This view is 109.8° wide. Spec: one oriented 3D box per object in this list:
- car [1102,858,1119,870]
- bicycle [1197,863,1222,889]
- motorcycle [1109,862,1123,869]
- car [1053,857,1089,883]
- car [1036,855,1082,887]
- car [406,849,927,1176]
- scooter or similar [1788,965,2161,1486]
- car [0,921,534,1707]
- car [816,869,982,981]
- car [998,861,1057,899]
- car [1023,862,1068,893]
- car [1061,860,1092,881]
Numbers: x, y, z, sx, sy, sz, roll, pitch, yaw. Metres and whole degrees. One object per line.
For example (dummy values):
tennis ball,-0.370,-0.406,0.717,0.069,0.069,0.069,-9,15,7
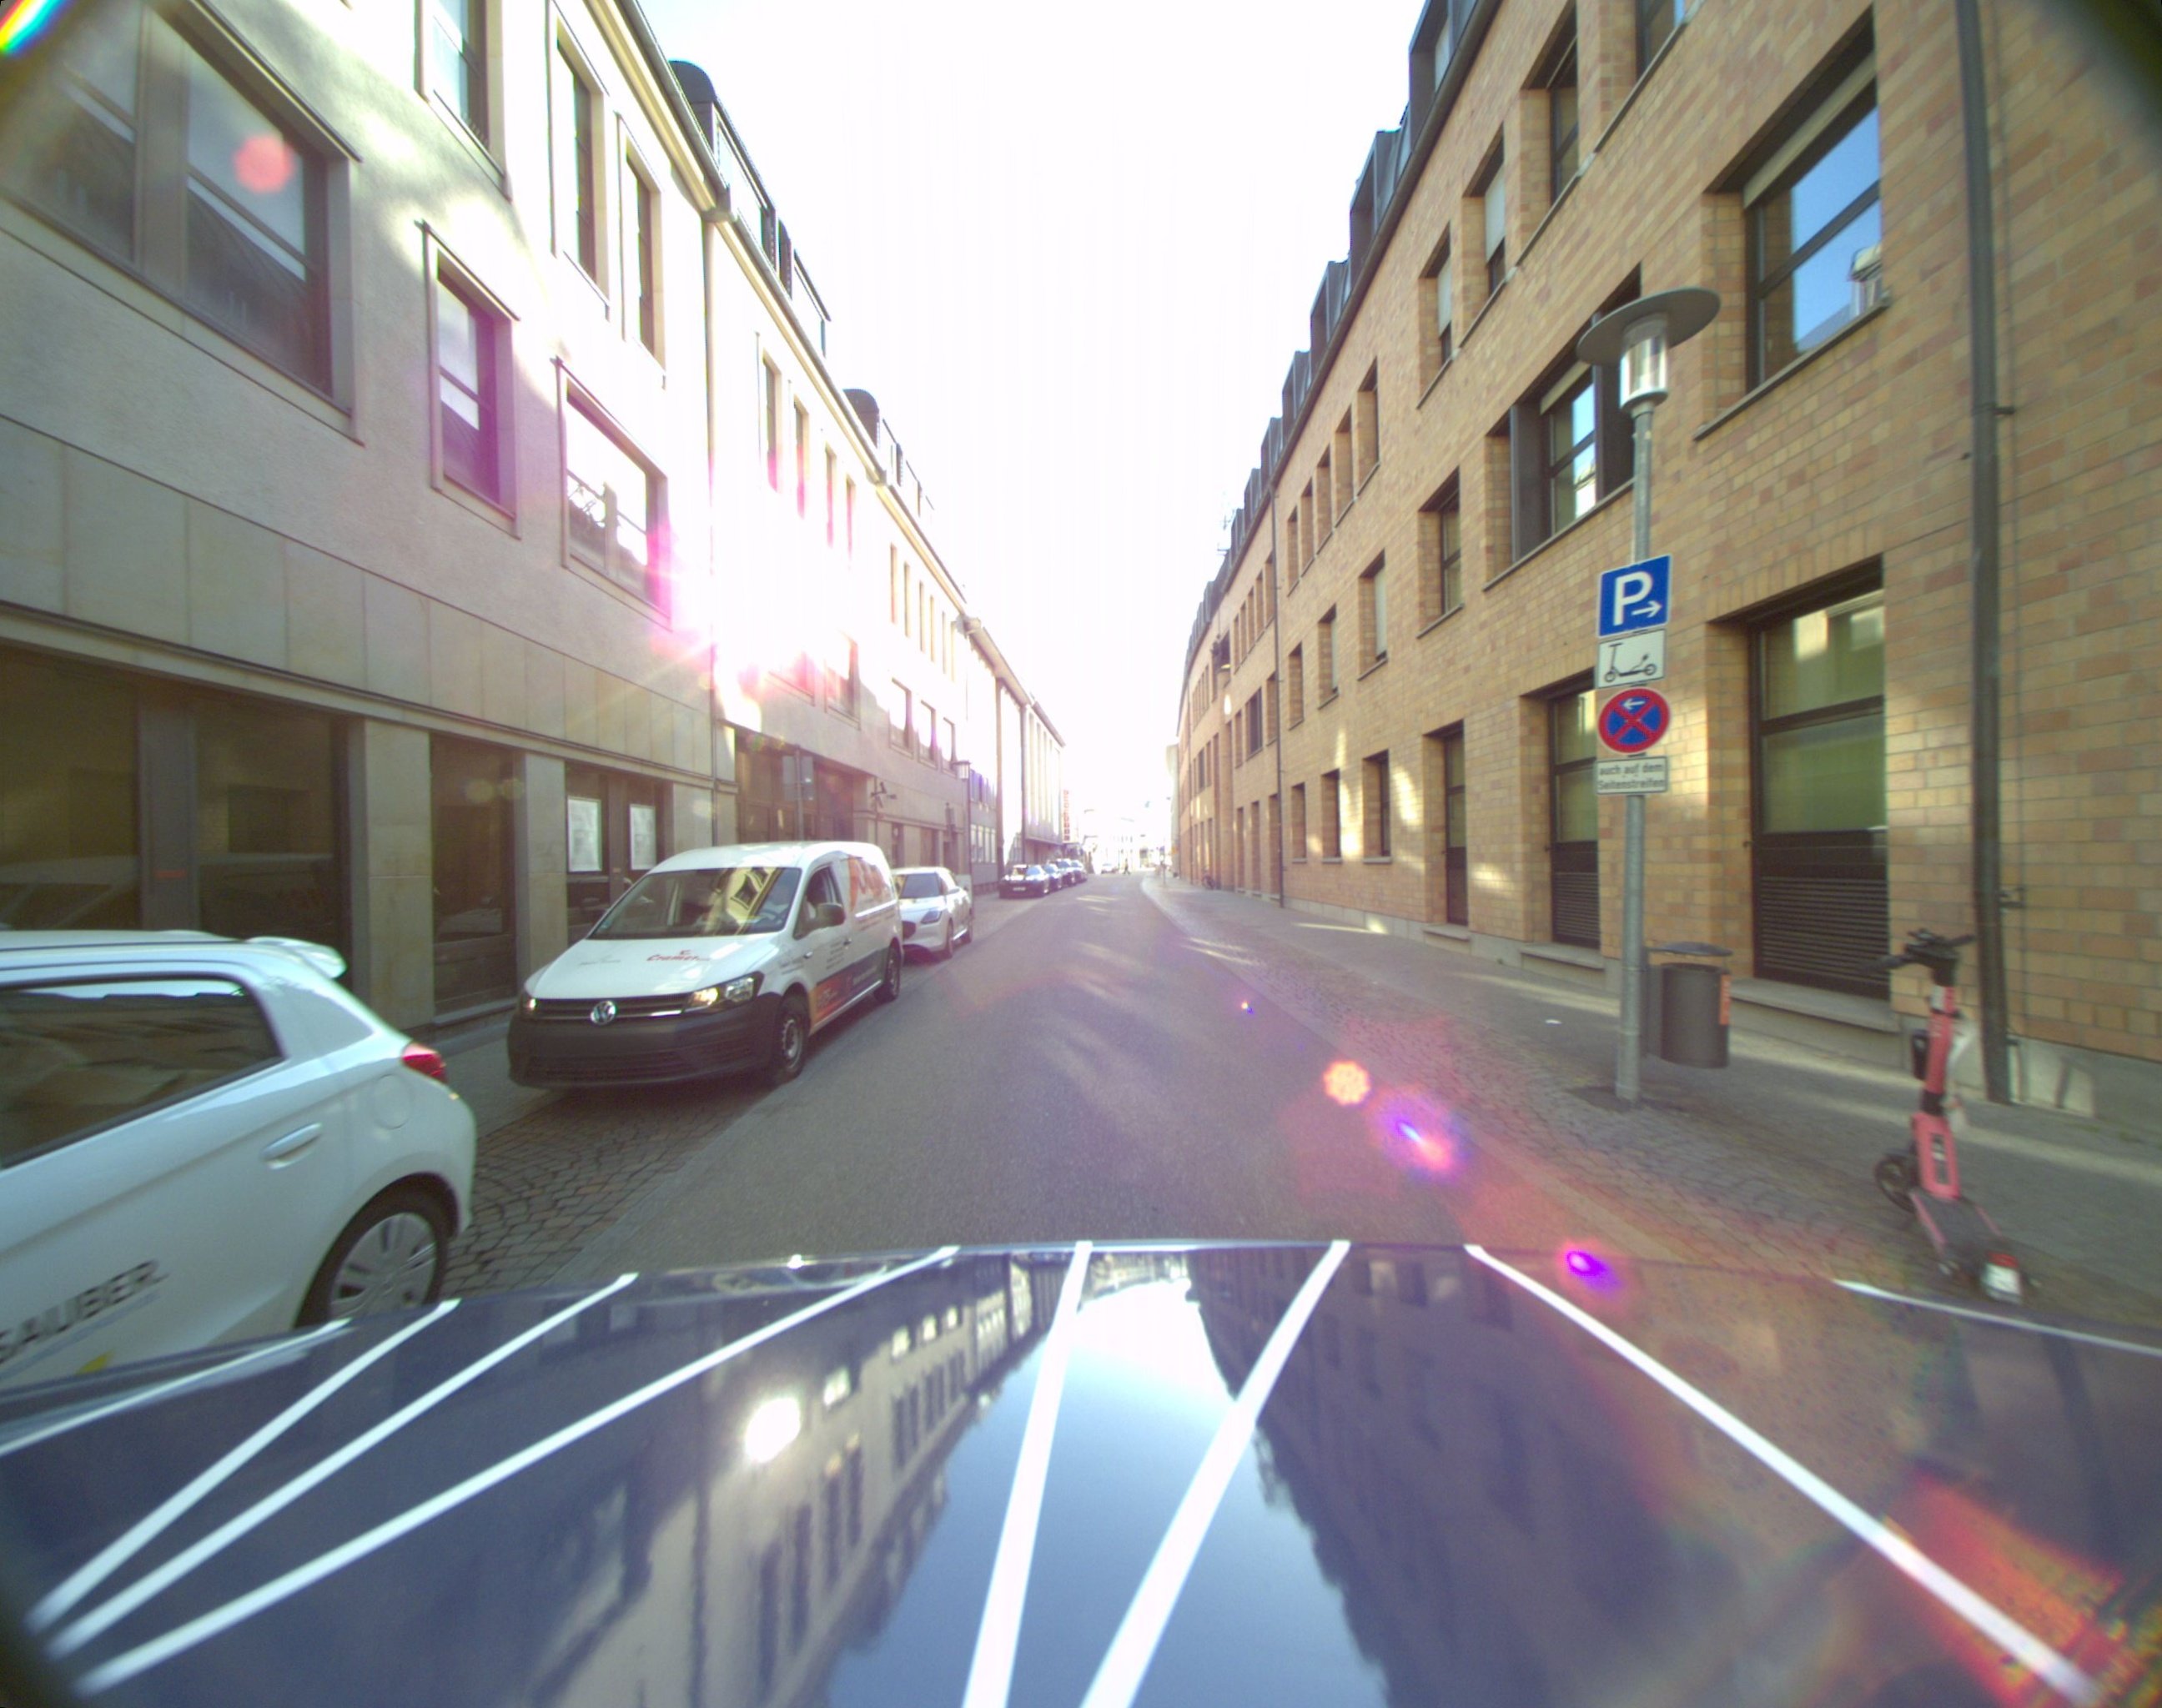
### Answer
car,3.860,1.349,99.502,1.846,1.453,4.001,-3,0,6
bicycle,6.020,1.033,35.737,0.633,1.155,1.803,-4,0,-5
motorcycle,5.074,1.699,110.566,1.995,0.950,0.646,-1,0,20
car,-0.644,1.113,54.126,1.998,1.692,4.845,-3,0,5
car,-1.281,0.977,46.505,2.108,1.775,5.054,-3,0,5
car,-2.872,0.897,6.910,1.835,1.780,5.213,-2,0,0
scooter or similar,3.192,1.100,2.666,0.698,1.210,1.359,0,0,27
car,-2.998,1.044,0.955,1.894,1.509,4.061,-2,0,-5
car,-2.941,1.087,13.217,1.845,1.469,4.168,-4,0,-1
car,-2.301,1.110,34.326,1.898,1.444,5.227,-3,0,4
car,-1.824,1.183,40.345,1.811,1.404,4.791,-3,0,3
car,-0.309,1.249,59.295,1.827,1.496,4.602,-4,-1,5
